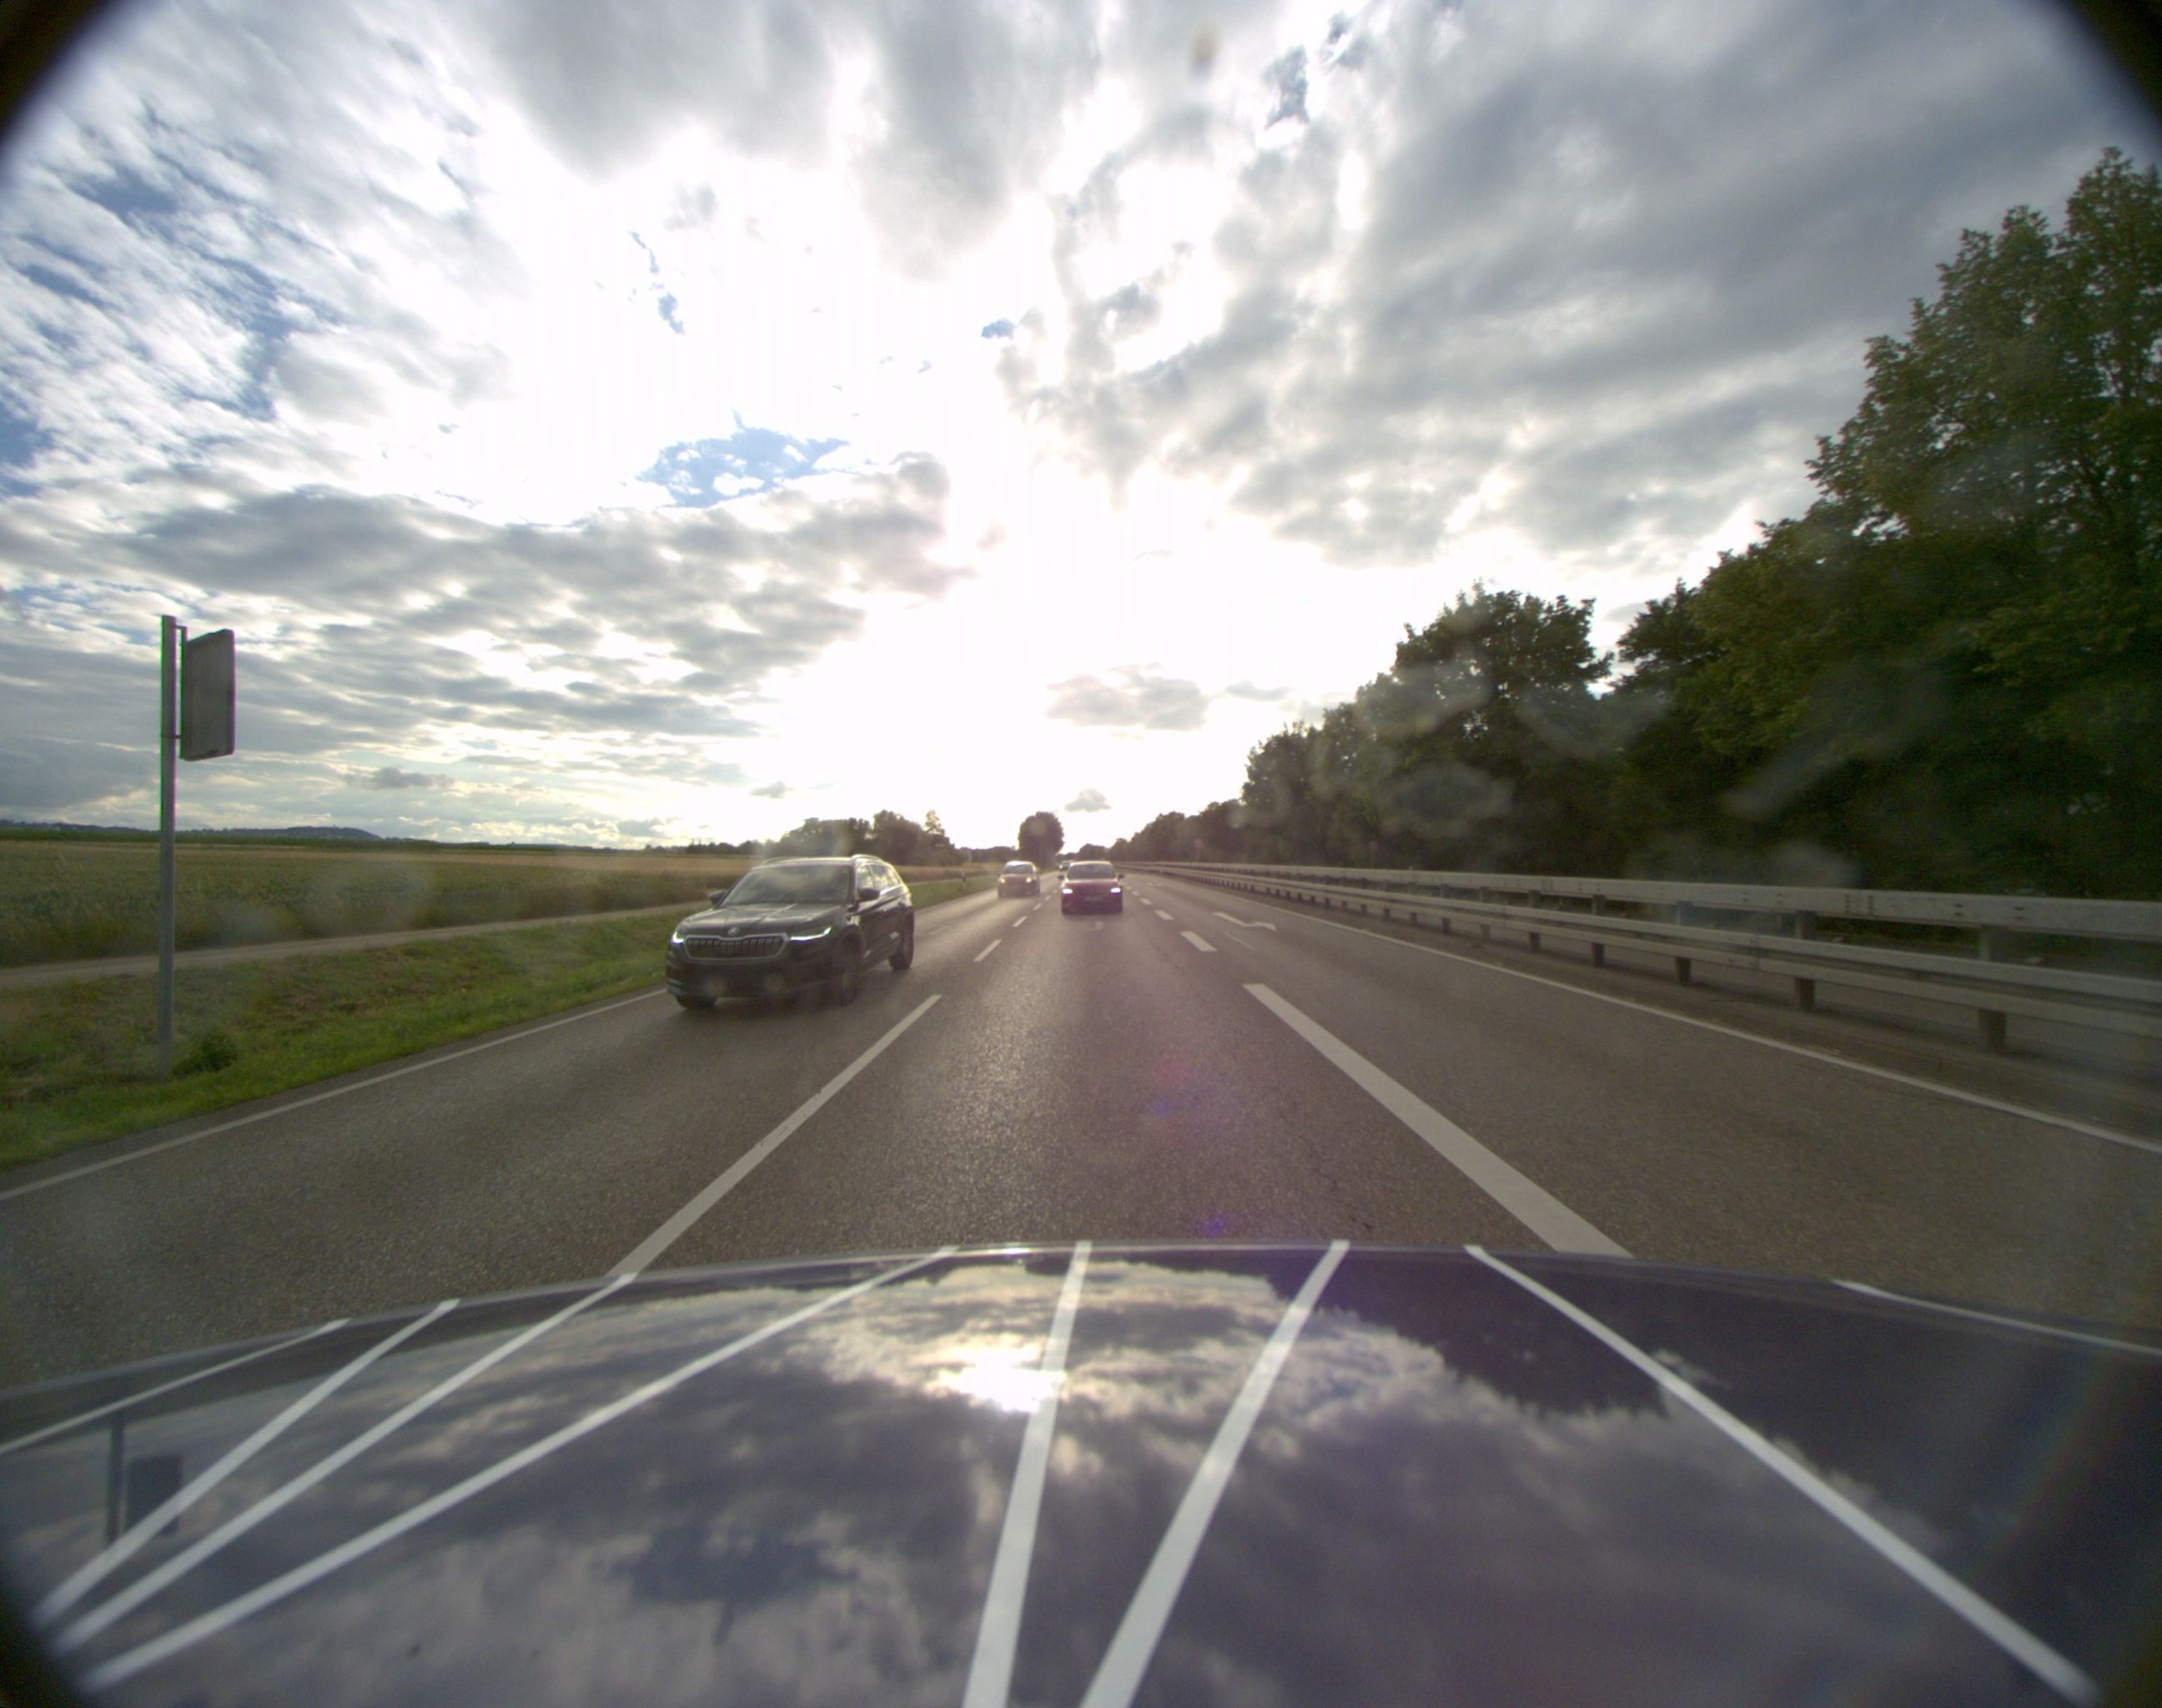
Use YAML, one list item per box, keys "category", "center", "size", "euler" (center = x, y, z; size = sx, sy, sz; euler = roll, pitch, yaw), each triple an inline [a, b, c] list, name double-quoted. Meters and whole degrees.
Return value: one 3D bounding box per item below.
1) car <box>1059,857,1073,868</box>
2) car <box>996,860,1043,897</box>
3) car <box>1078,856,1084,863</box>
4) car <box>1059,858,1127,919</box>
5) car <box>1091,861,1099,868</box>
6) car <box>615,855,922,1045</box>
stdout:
- category: "car"
  center: [-2.051, 1.137, 105.258]
  size: [1.799, 1.448, 4.032]
  euler: [-2, 0, 1]
- category: "car"
  center: [-2.720, 1.066, 34.278]
  size: [1.712, 1.448, 3.908]
  euler: [-2, 1, 1]
- category: "car"
  center: [-0.051, 1.650, 225.272]
  size: [1.671, 1.730, 4.032]
  euler: [-2, 0, 1]
- category: "car"
  center: [0.348, 0.897, 21.623]
  size: [1.712, 1.448, 4.061]
  euler: [-2, 1, 1]
- category: "car"
  center: [2.996, 2.281, 166.232]
  size: [1.712, 1.448, 4.061]
  euler: [-2, 1, 1]
- category: "car"
  center: [-3.465, 0.924, 9.538]
  size: [1.841, 1.698, 4.556]
  euler: [-2, 1, 1]
